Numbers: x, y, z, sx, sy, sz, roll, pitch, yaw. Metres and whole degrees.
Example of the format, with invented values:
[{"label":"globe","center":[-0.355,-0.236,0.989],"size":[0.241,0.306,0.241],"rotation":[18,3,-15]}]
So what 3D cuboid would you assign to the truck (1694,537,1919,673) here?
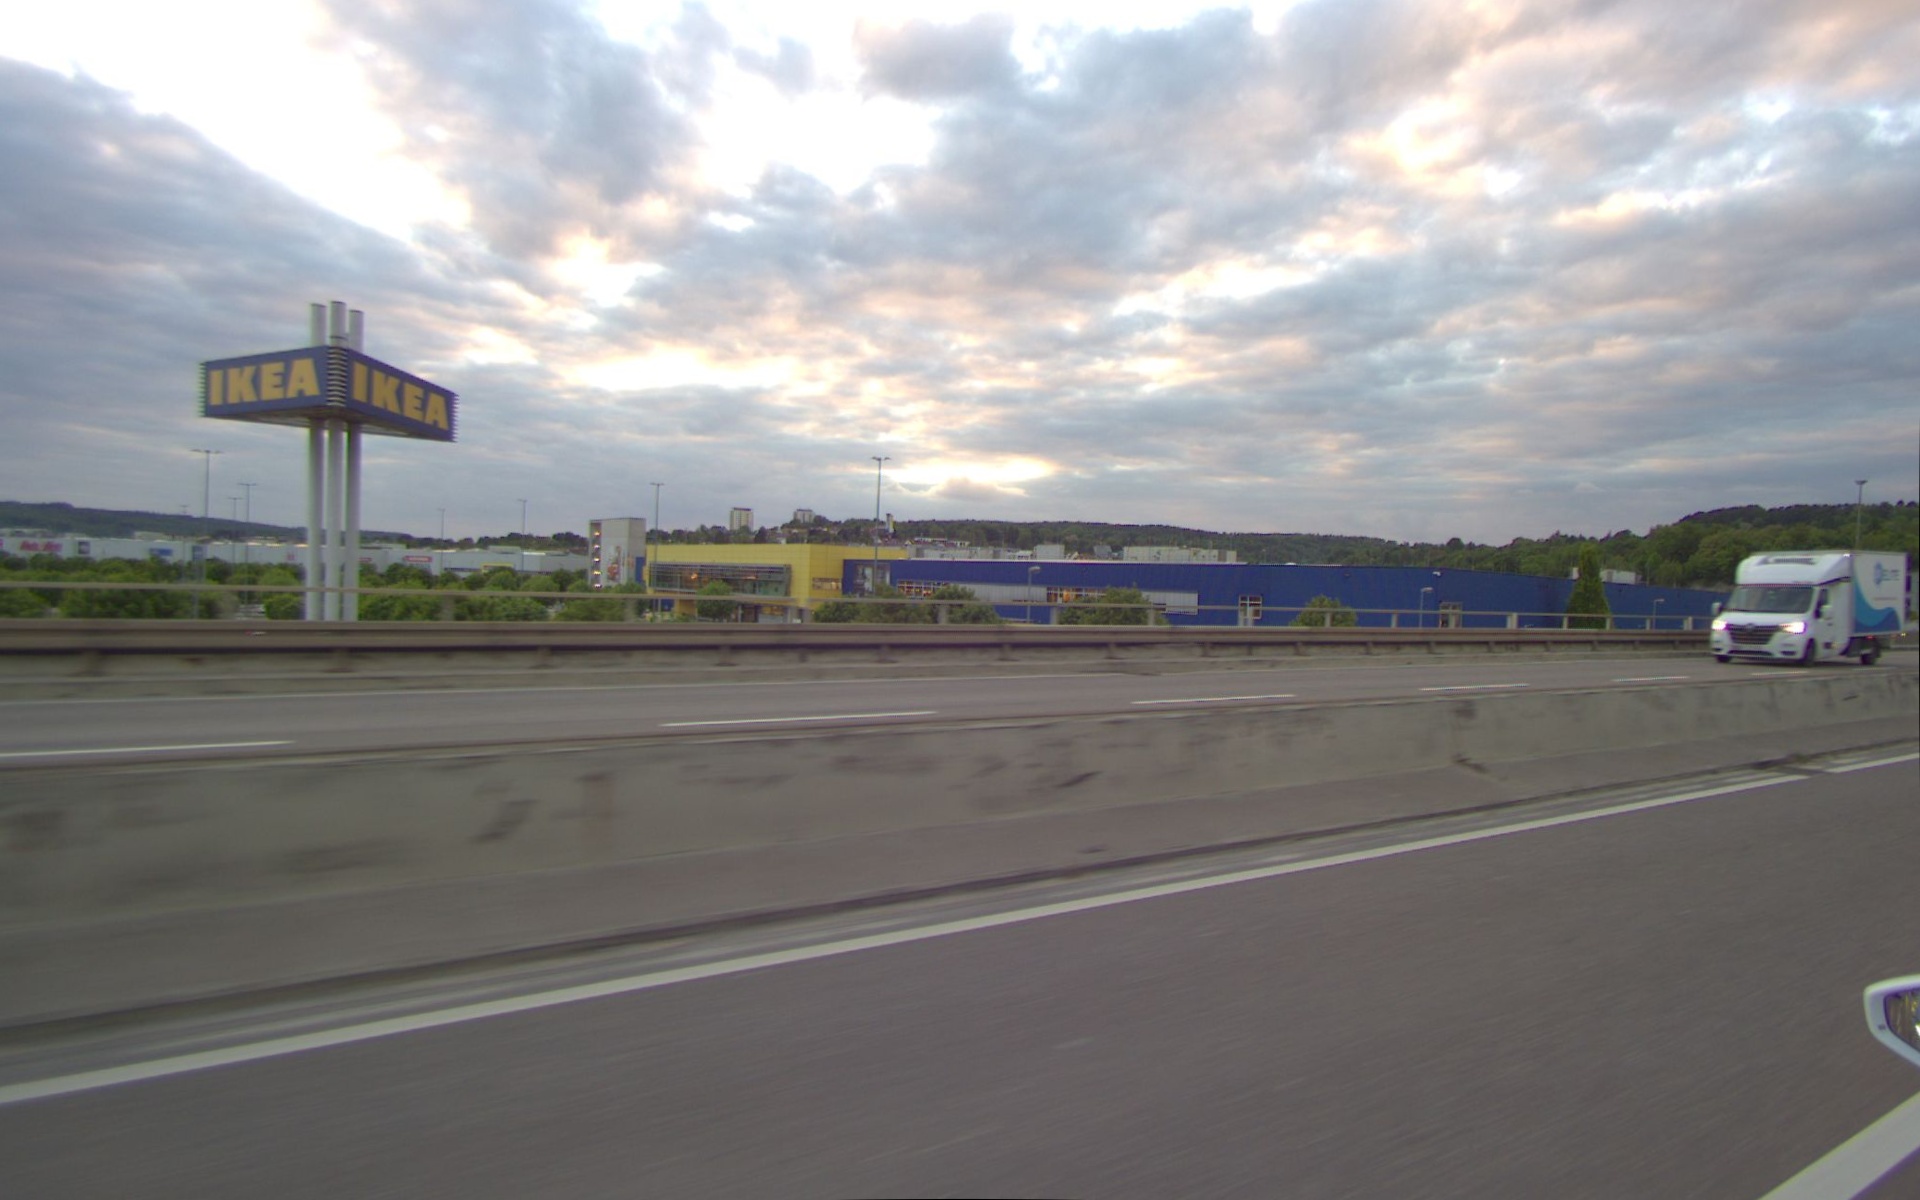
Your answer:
[{"label":"truck","center":[23.462,0.193,27.732],"size":[7.362,3.341,2.521],"rotation":[2,0,-32]}]
